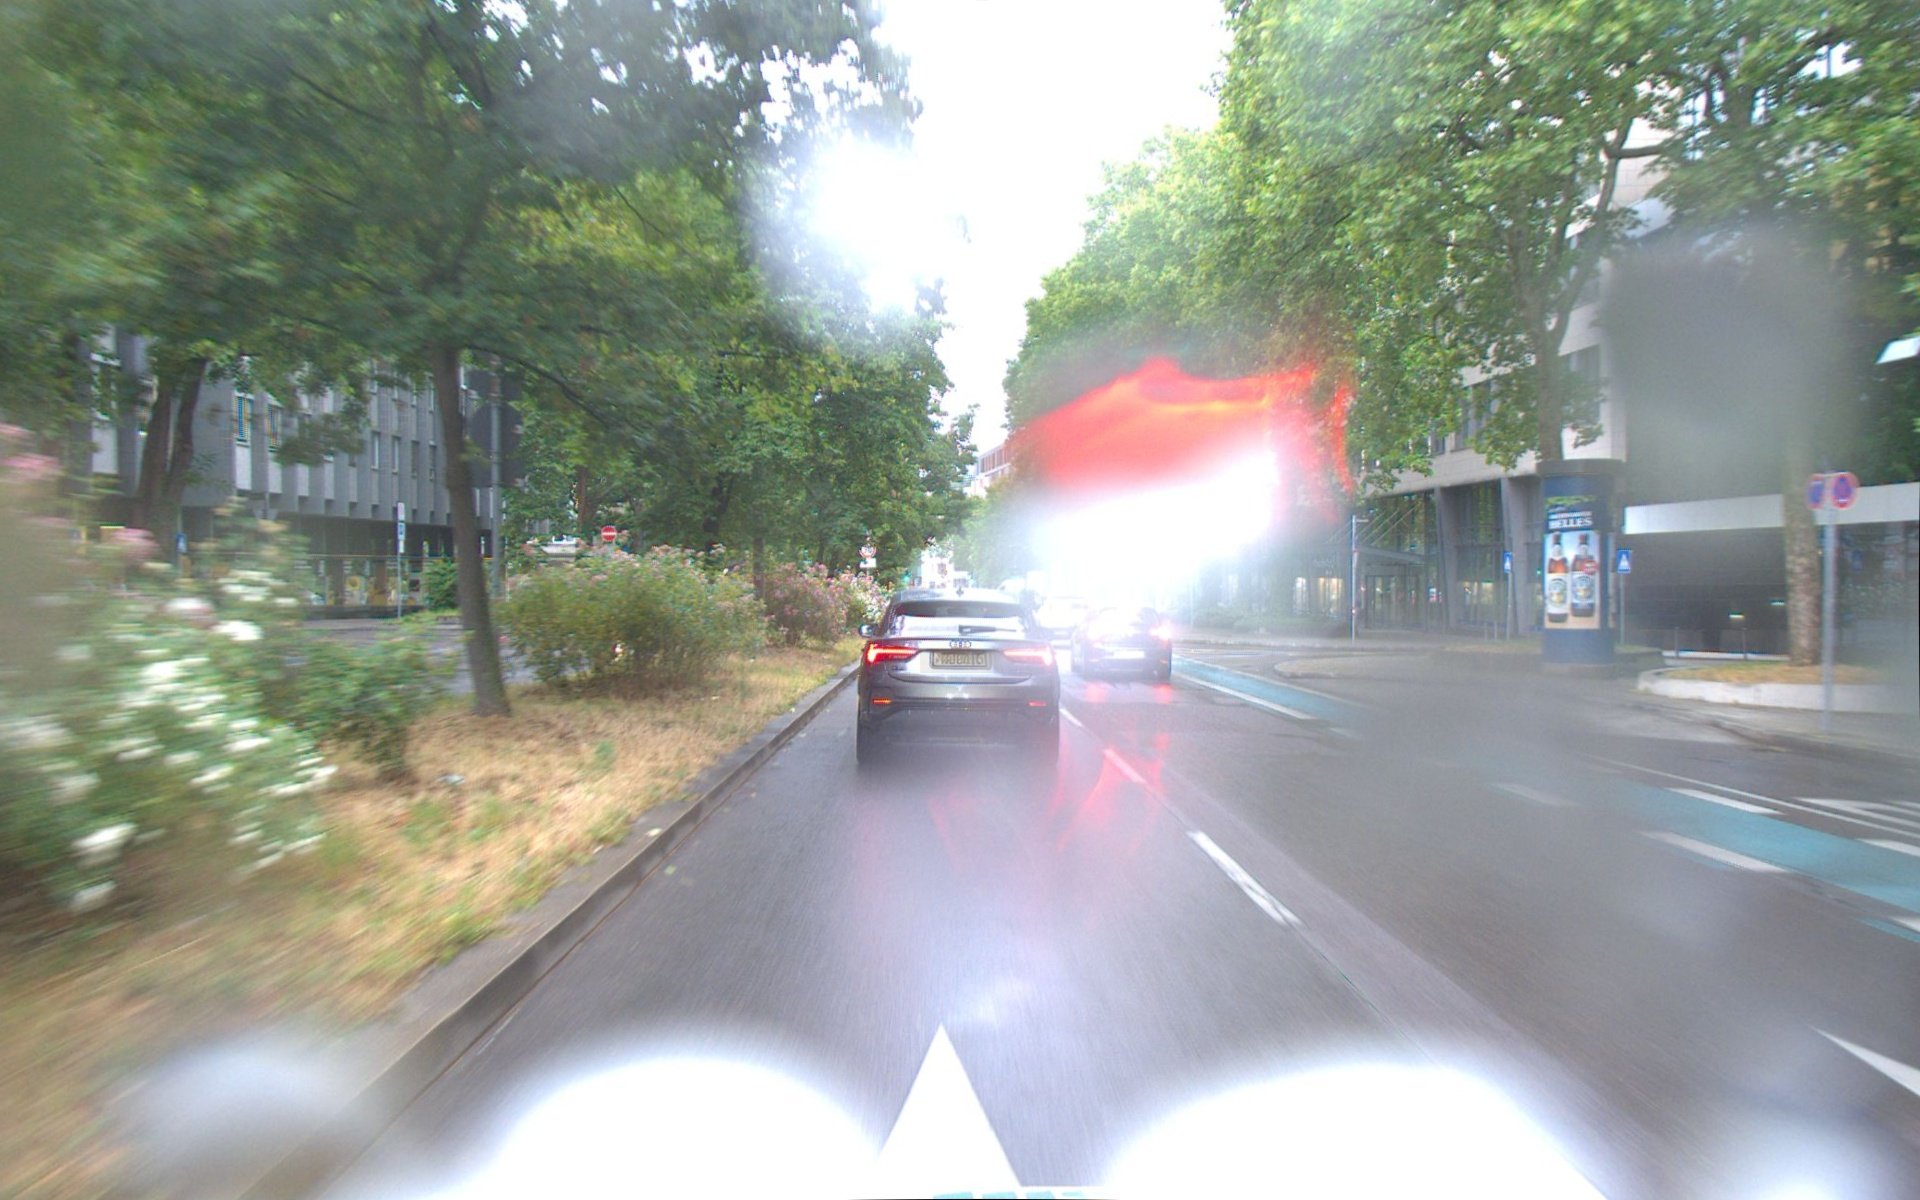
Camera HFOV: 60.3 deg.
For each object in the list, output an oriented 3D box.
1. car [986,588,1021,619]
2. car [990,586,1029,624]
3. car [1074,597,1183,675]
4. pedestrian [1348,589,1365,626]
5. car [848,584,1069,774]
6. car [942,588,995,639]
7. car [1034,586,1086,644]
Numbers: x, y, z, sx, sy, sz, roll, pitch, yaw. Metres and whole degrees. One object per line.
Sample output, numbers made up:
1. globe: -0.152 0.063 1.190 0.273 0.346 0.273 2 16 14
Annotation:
1. car: 2.560 0.208 98.289 1.953 1.780 4.000 0 0 0
2. car: 2.399 0.220 80.946 1.785 1.780 4.000 0 0 0
3. car: 3.318 0.677 33.179 1.729 1.437 3.999 0 0 -1
4. pedestrian: 19.989 0.394 83.363 0.637 1.847 0.655 1 0 -1
5. car: 0.021 0.637 16.050 1.825 1.559 4.527 1 0 1
6. car: 0.254 0.425 55.352 1.686 1.605 3.961 0 0 -1
7. car: 3.042 0.431 50.711 1.404 1.714 2.979 0 0 0
